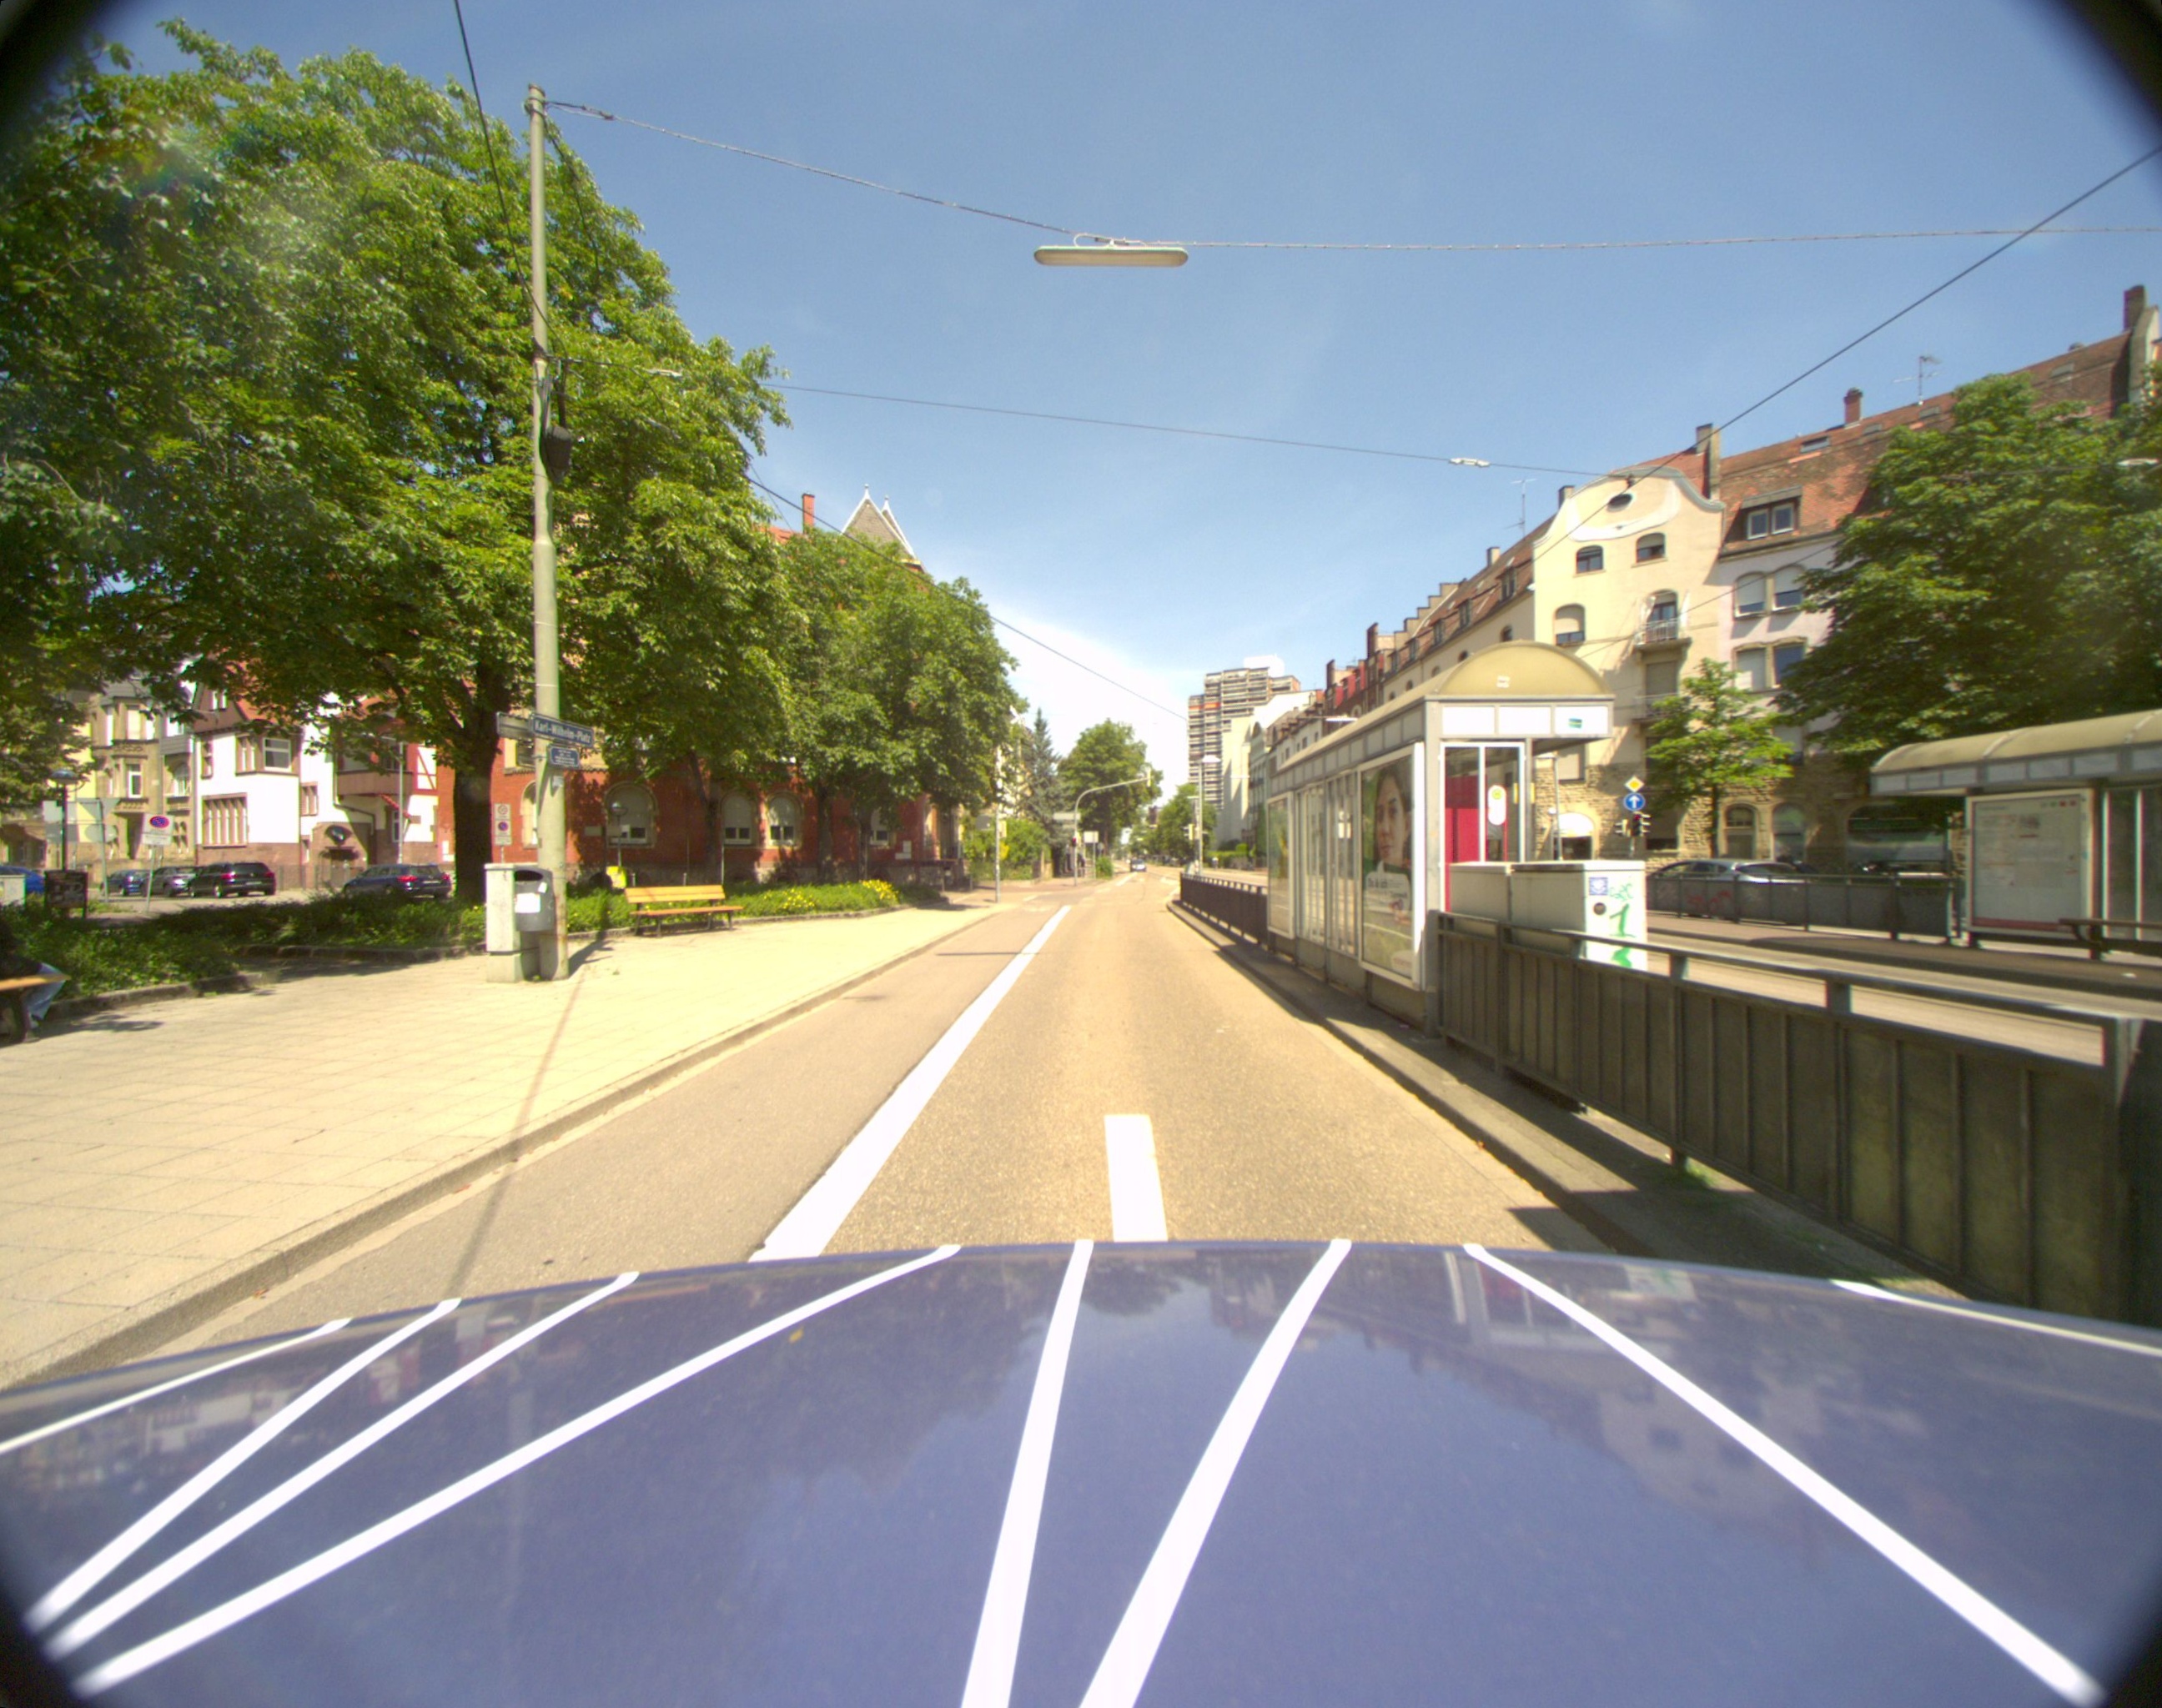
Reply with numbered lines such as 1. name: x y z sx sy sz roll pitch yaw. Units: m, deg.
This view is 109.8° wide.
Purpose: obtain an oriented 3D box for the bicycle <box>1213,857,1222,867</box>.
1. bicycle: 16.242 0.948 90.403 0.629 1.150 1.978 -1 0 1

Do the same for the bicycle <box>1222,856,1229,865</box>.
1. bicycle: 19.102 0.864 100.372 0.493 1.090 2.047 -1 0 1

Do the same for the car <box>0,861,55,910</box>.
1. car: -37.260 1.052 24.723 1.723 1.642 4.273 -1 -1 20

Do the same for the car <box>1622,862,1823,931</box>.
1. car: 14.705 0.900 17.707 1.544 1.331 3.718 -1 1 0

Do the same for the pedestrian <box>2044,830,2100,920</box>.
1. pedestrian: 20.880 0.433 16.021 0.511 1.868 0.494 -1 1 6

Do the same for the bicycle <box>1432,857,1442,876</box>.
1. bicycle: 23.073 0.797 49.256 0.454 1.218 2.083 -1 1 21

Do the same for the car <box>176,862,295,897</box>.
1. car: -39.999 1.211 35.944 5.477 1.523 1.991 -1 1 22

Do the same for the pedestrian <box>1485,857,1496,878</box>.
1. pedestrian: 23.064 0.752 42.826 0.406 1.142 0.405 -1 1 -2

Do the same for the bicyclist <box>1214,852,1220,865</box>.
1. bicyclist: 16.207 0.562 90.317 0.609 1.565 0.585 -1 1 1

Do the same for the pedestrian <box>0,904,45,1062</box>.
1. pedestrian: -7.809 0.910 5.300 0.510 1.085 0.478 1 0 7

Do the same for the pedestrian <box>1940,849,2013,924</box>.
1. pedestrian: 19.628 0.700 16.672 0.681 1.596 0.773 -1 1 -2

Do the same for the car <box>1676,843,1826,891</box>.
1. car: 23.145 0.445 26.404 3.579 1.566 1.585 -1 1 22

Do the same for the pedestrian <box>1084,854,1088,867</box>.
1. pedestrian: 0.644 0.837 98.076 0.547 1.683 0.755 0 1 1

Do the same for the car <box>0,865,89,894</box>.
1. car: -59.611 1.477 43.654 4.391 1.547 1.908 -1 1 21

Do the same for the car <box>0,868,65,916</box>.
1. car: -32.906 1.129 21.974 1.723 1.421 3.895 -1 -1 20

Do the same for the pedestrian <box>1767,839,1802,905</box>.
1. pedestrian: 19.467 0.485 21.031 0.511 1.812 0.494 -1 1 3

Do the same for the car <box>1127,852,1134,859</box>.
1. car: 14.848 0.318 226.871 1.998 2.002 4.000 -1 1 1

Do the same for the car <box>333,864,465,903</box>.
1. car: -27.211 1.147 30.330 4.748 1.433 1.908 -1 1 21

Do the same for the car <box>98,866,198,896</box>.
1. car: -48.717 1.401 39.676 4.605 1.456 1.908 -1 1 21
